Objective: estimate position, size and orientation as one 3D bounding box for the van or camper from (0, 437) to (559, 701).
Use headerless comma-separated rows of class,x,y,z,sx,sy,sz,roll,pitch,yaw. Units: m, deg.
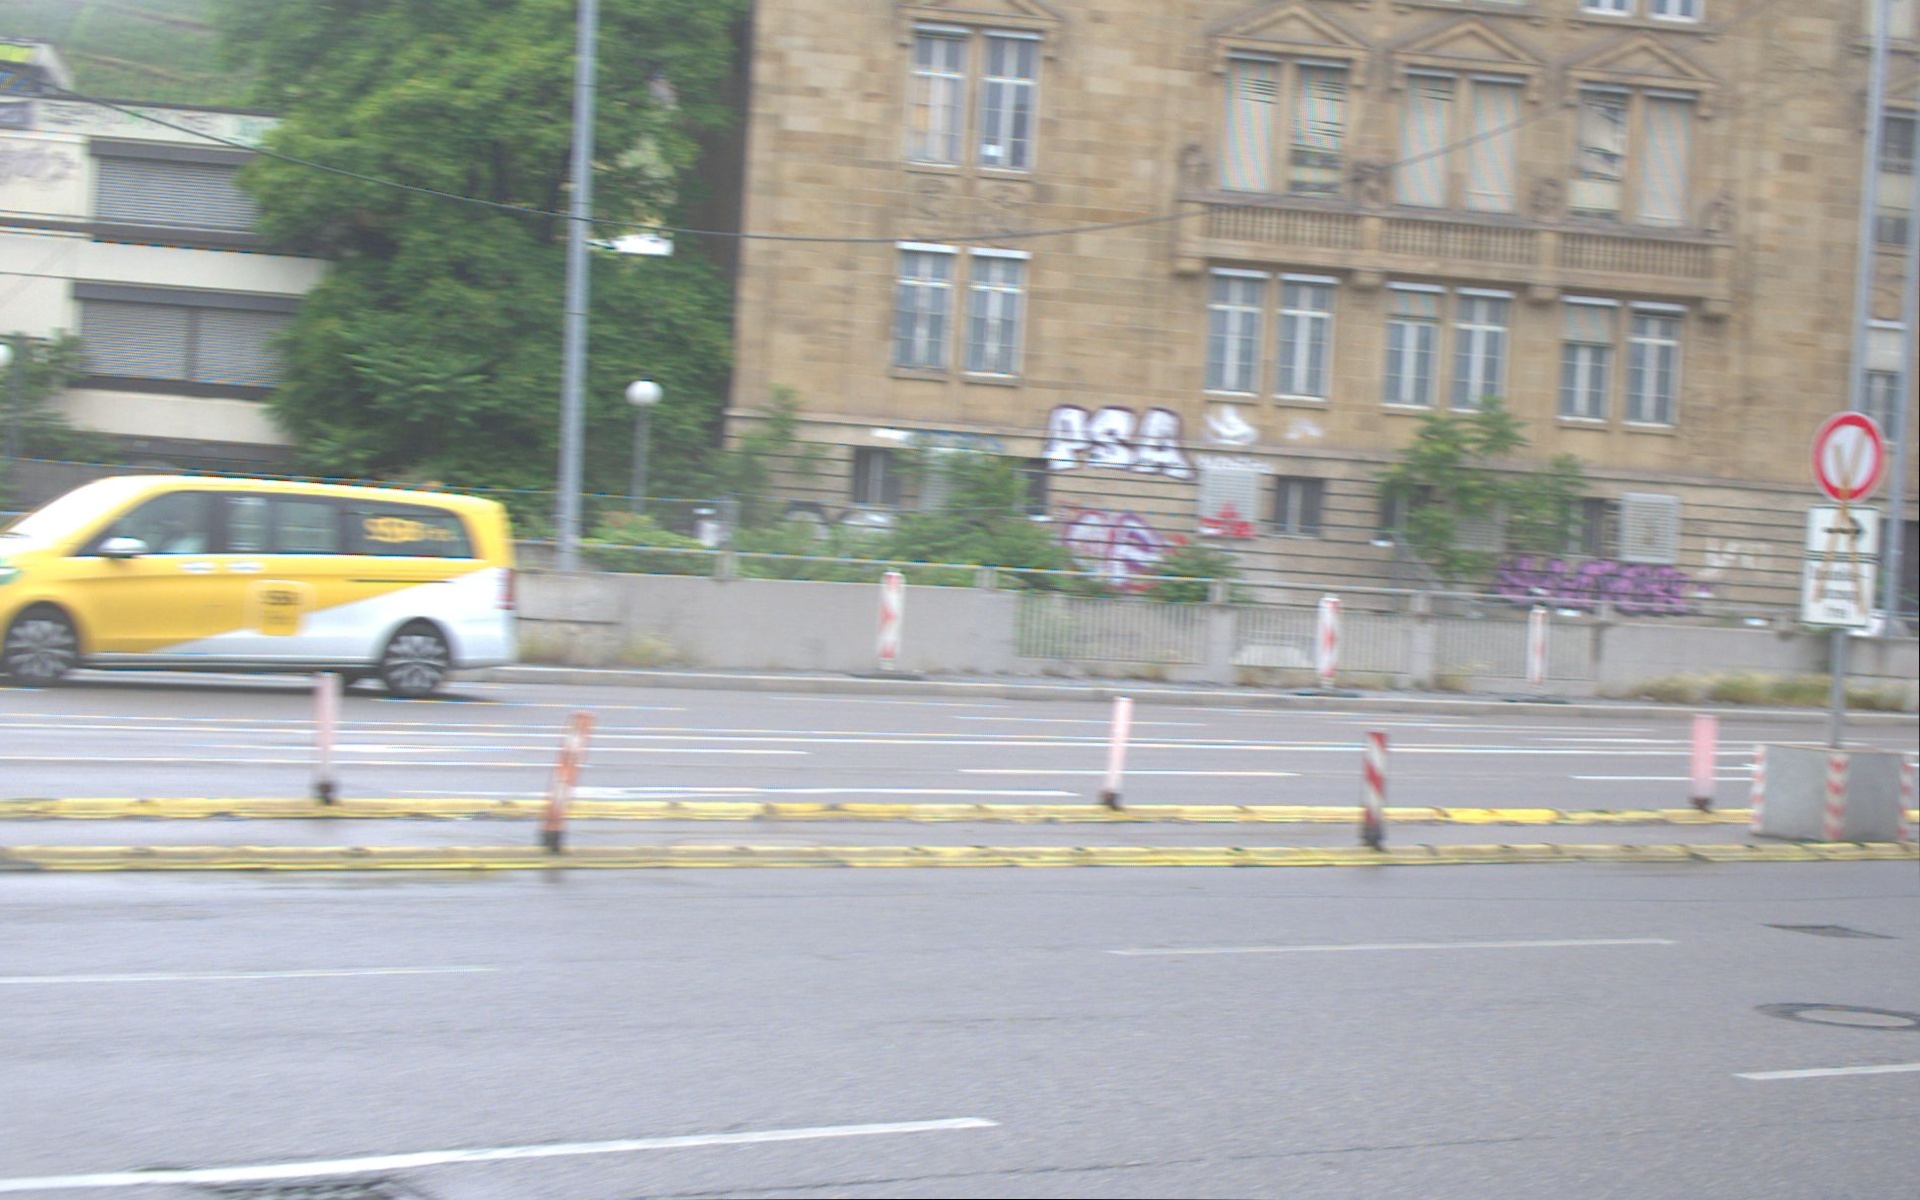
van or camper,-6.665,-0.282,30.772,5.589,2.047,2.247,3,1,-34
